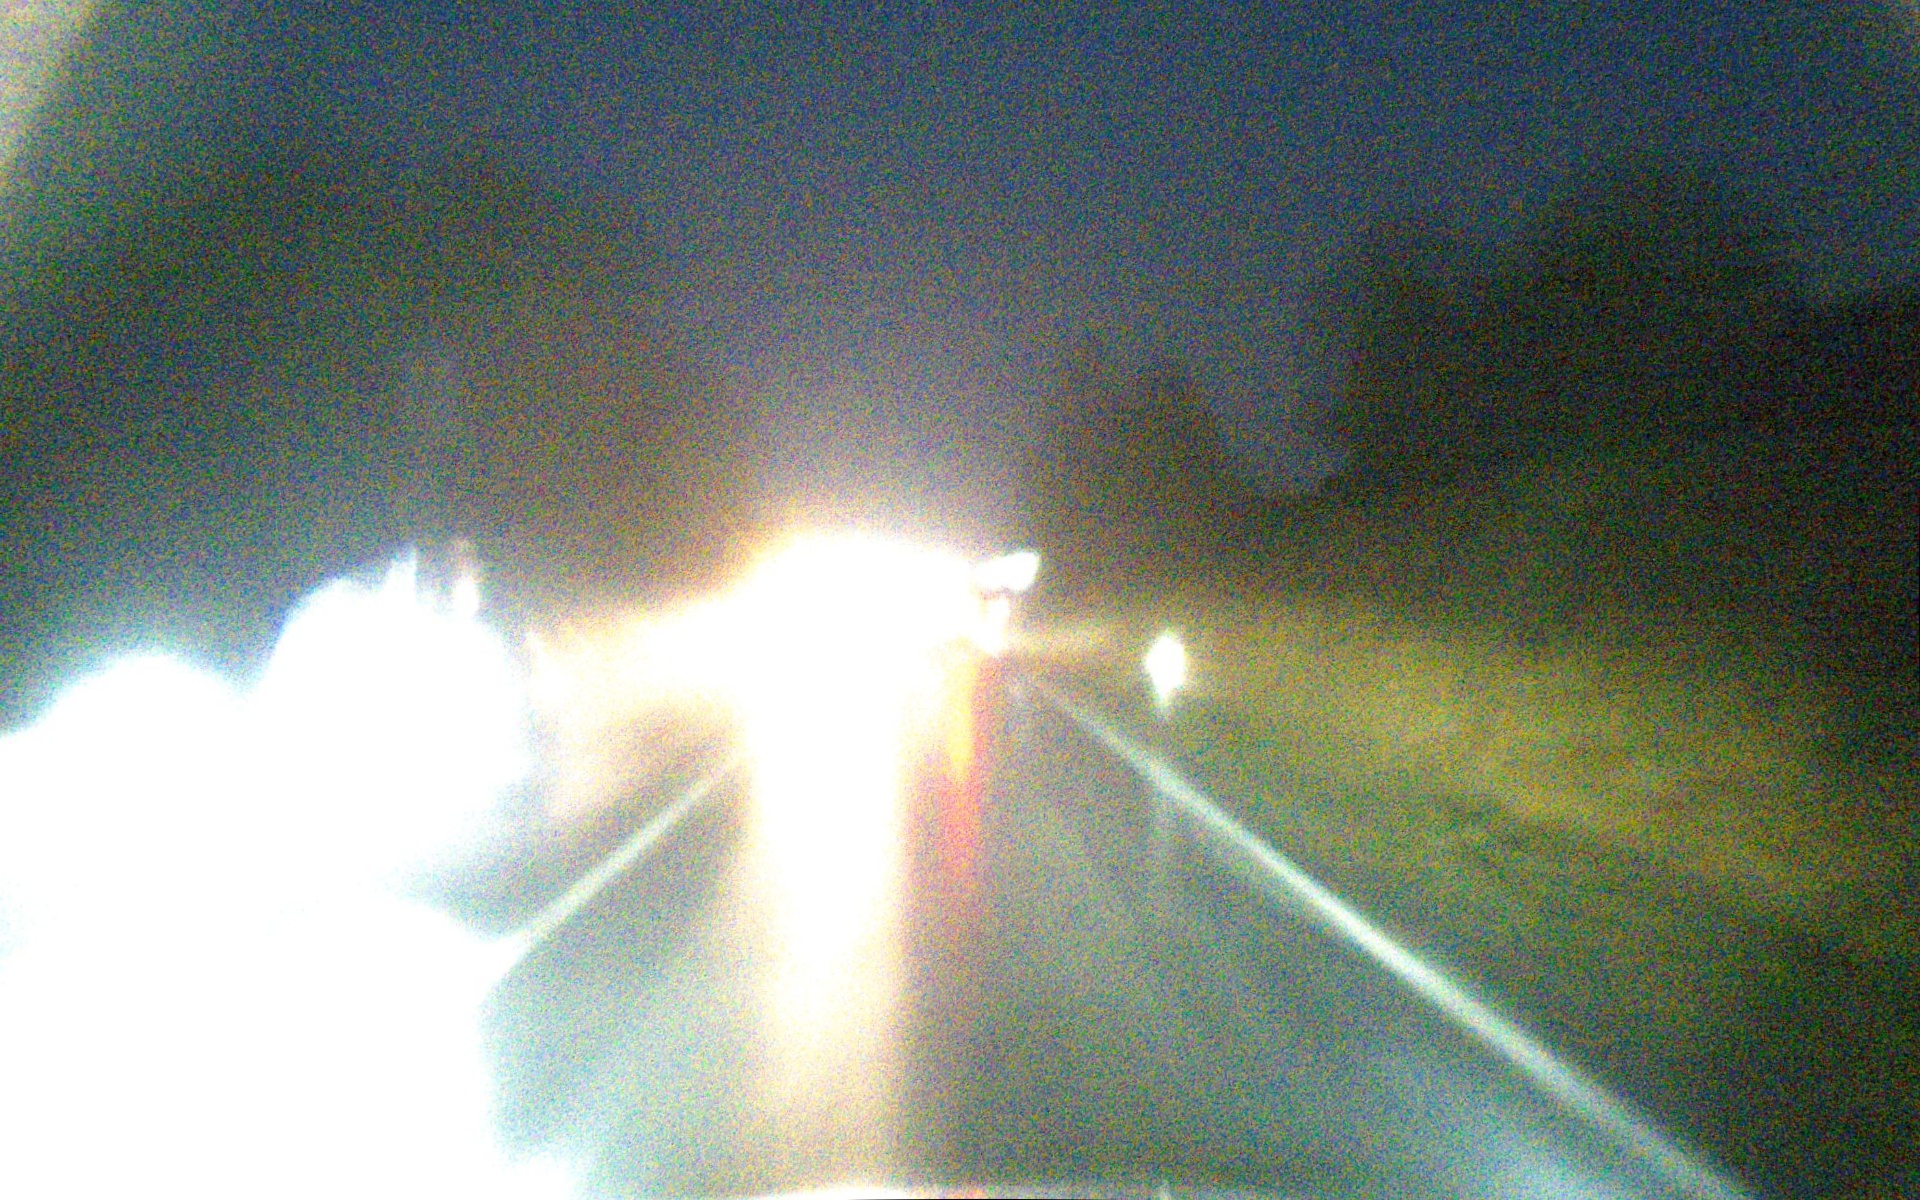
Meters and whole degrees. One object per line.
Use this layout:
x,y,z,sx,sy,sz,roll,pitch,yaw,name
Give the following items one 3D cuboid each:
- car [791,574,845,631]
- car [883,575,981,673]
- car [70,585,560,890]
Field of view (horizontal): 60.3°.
-5.347,0.057,62.509,1.954,2.049,3.996,1,1,-5,car
-0.662,0.478,36.987,2.051,2.049,3.999,1,1,-2,car
-3.629,0.659,10.029,1.712,1.451,3.683,-1,1,-4,car
